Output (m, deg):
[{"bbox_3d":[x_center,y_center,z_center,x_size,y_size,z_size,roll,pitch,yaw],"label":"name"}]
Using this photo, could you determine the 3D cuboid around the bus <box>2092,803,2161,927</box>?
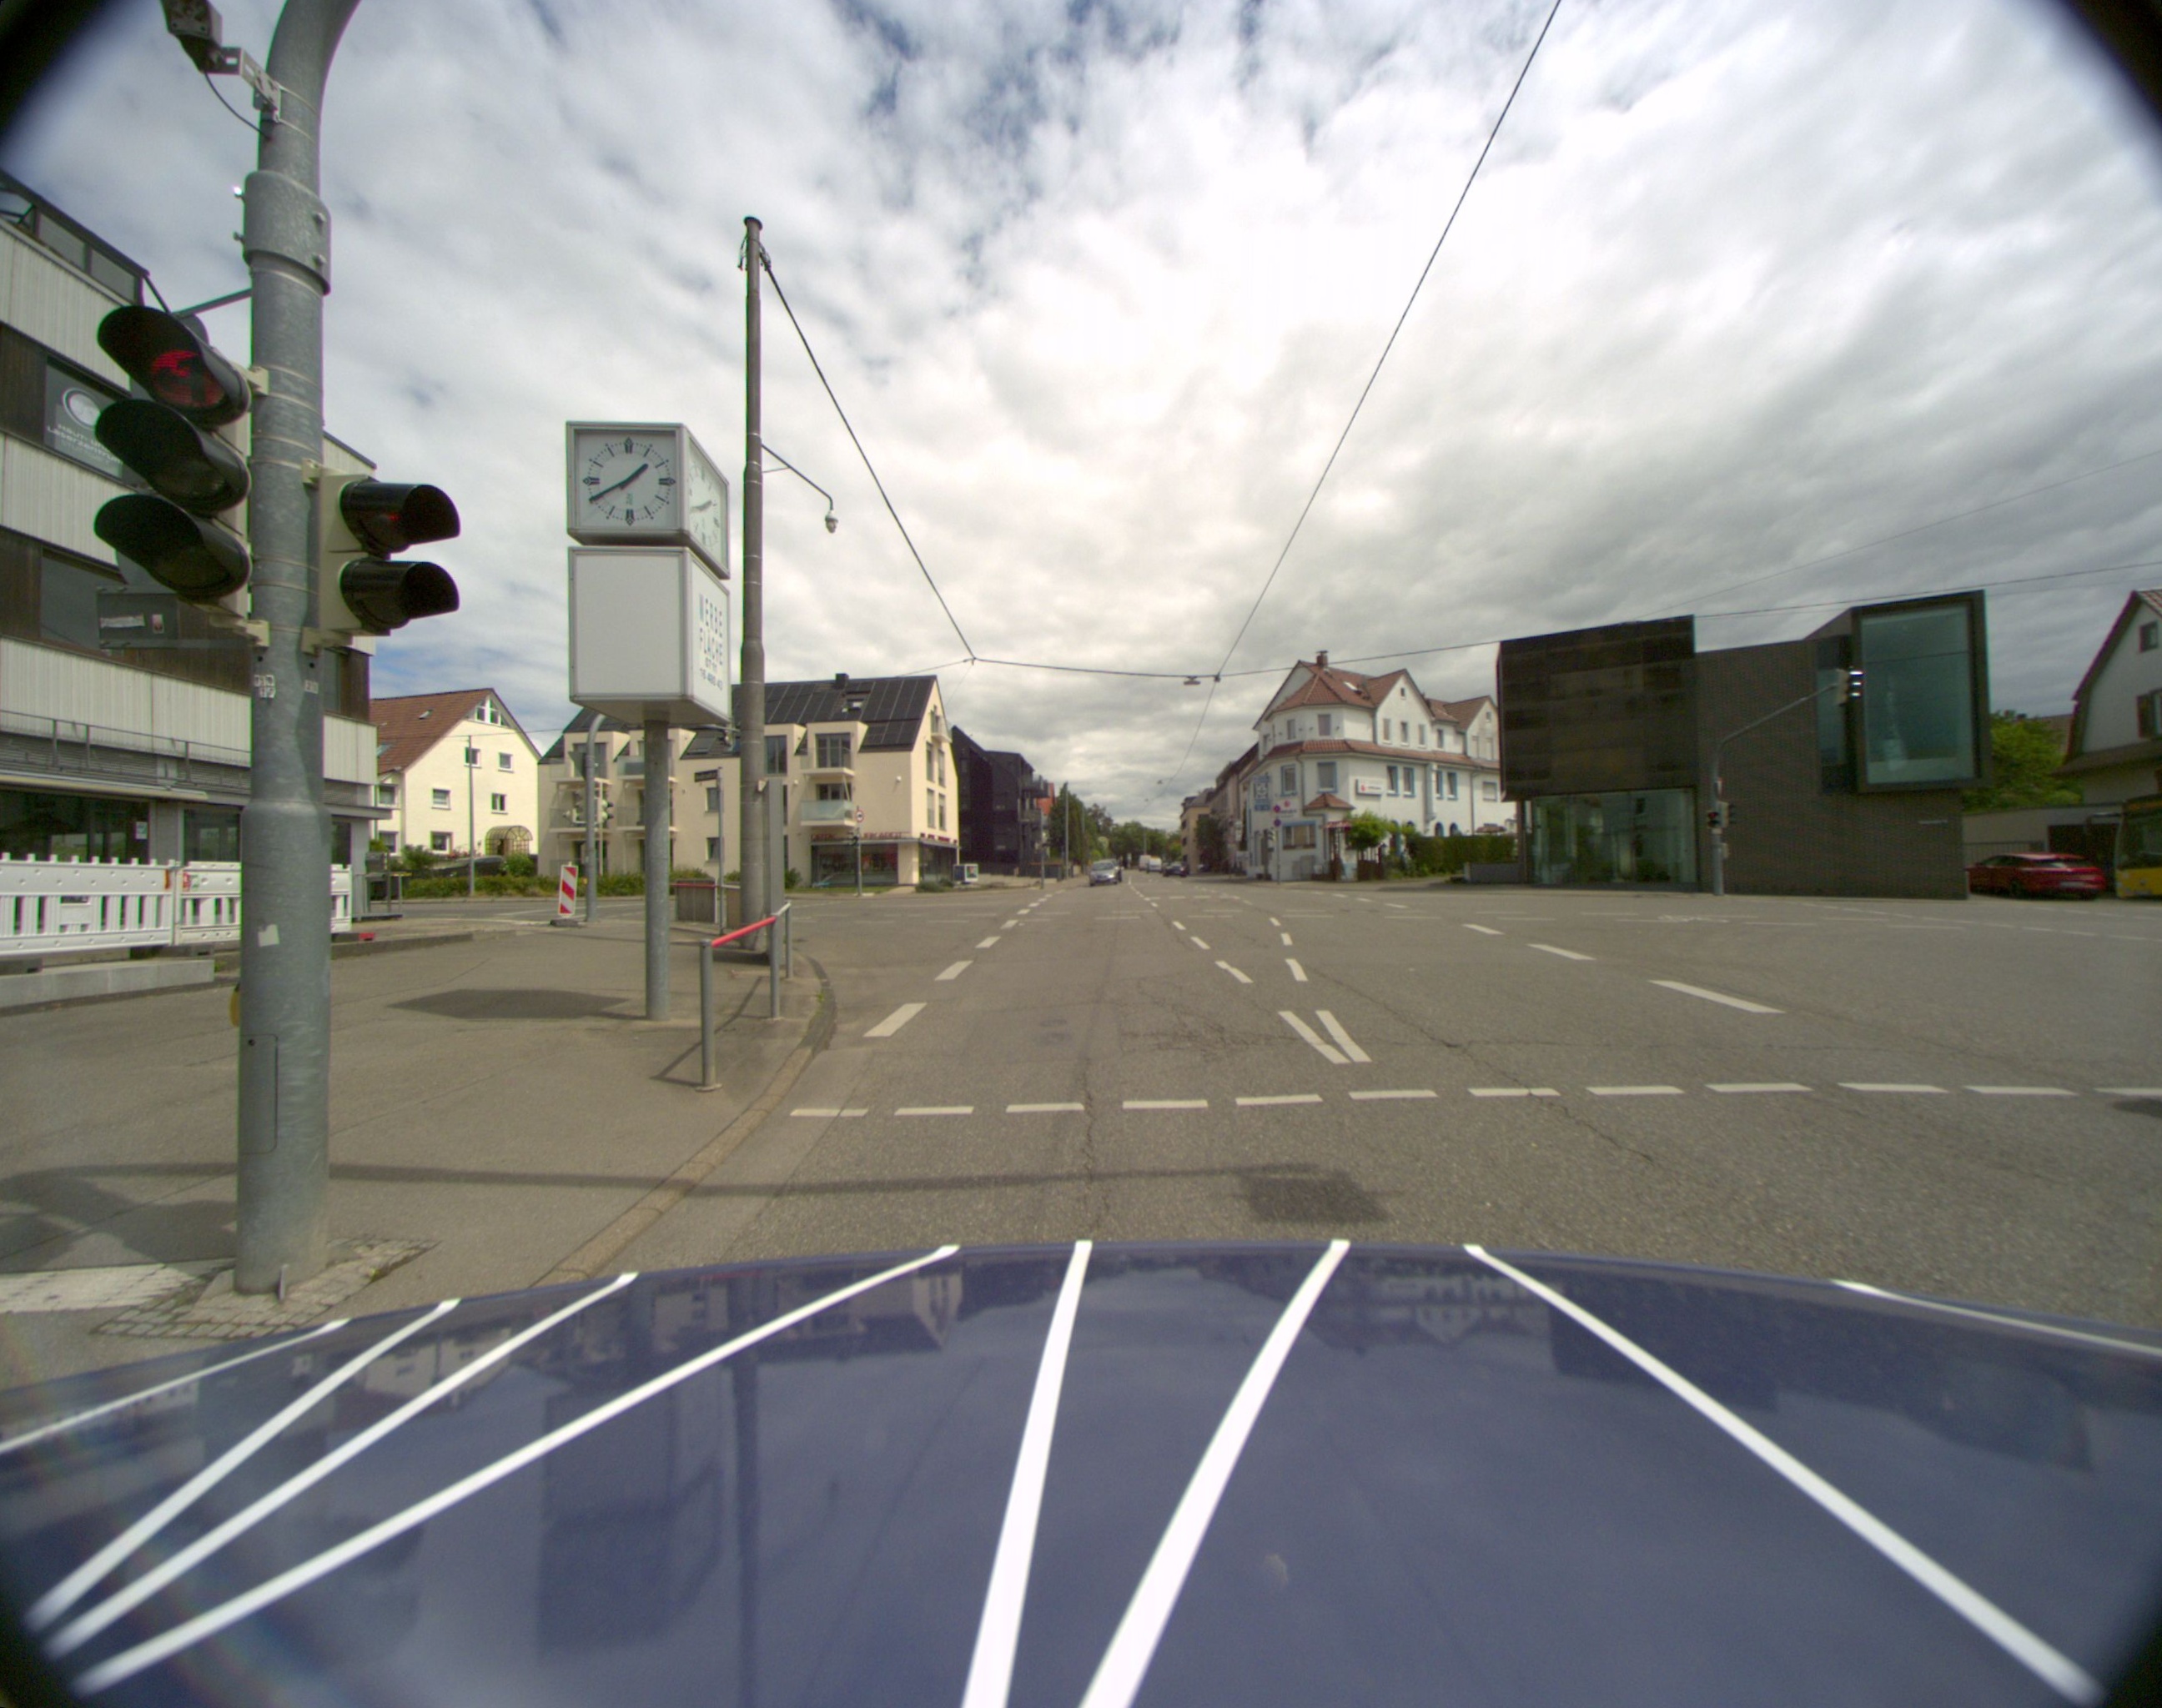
[{"bbox_3d":[30.876,0.240,17.304,9.167,3.042,2.792,0,0,26],"label":"bus"}]

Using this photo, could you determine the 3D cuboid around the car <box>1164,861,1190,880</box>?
[{"bbox_3d":[8.446,1.433,66.952,1.998,1.521,4.001,2,0,5],"label":"car"}]

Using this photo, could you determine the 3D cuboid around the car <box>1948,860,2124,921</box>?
[{"bbox_3d":[31.577,1.131,25.324,1.995,1.631,4.005,0,3,24],"label":"car"}]

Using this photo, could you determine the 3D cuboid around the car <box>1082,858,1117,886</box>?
[{"bbox_3d":[1.213,1.097,47.695,1.998,1.674,4.001,0,0,4],"label":"car"}]

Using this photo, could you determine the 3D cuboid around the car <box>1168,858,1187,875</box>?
[{"bbox_3d":[11.864,1.545,93.910,1.998,2.002,4.001,0,0,2],"label":"car"}]

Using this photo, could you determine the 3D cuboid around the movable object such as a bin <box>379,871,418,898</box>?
[{"bbox_3d":[-34.297,1.522,38.199,0.979,1.354,1.094,0,0,10],"label":"movable object such as a bin"}]

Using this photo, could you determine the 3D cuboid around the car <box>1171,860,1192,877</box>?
[{"bbox_3d":[11.706,1.662,88.716,1.998,2.002,4.001,0,0,1],"label":"car"}]

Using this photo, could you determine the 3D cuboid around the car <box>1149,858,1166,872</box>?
[{"bbox_3d":[9.430,1.379,94.159,1.820,1.801,4.420,0,-1,2],"label":"car"}]

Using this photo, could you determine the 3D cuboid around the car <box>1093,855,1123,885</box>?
[{"bbox_3d":[1.913,1.110,53.522,1.998,2.002,4.001,-1,0,3],"label":"car"}]

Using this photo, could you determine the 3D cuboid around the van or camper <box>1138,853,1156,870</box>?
[{"bbox_3d":[10.548,1.198,122.200,2.113,2.571,5.645,2,-1,-1],"label":"van or camper"}]
